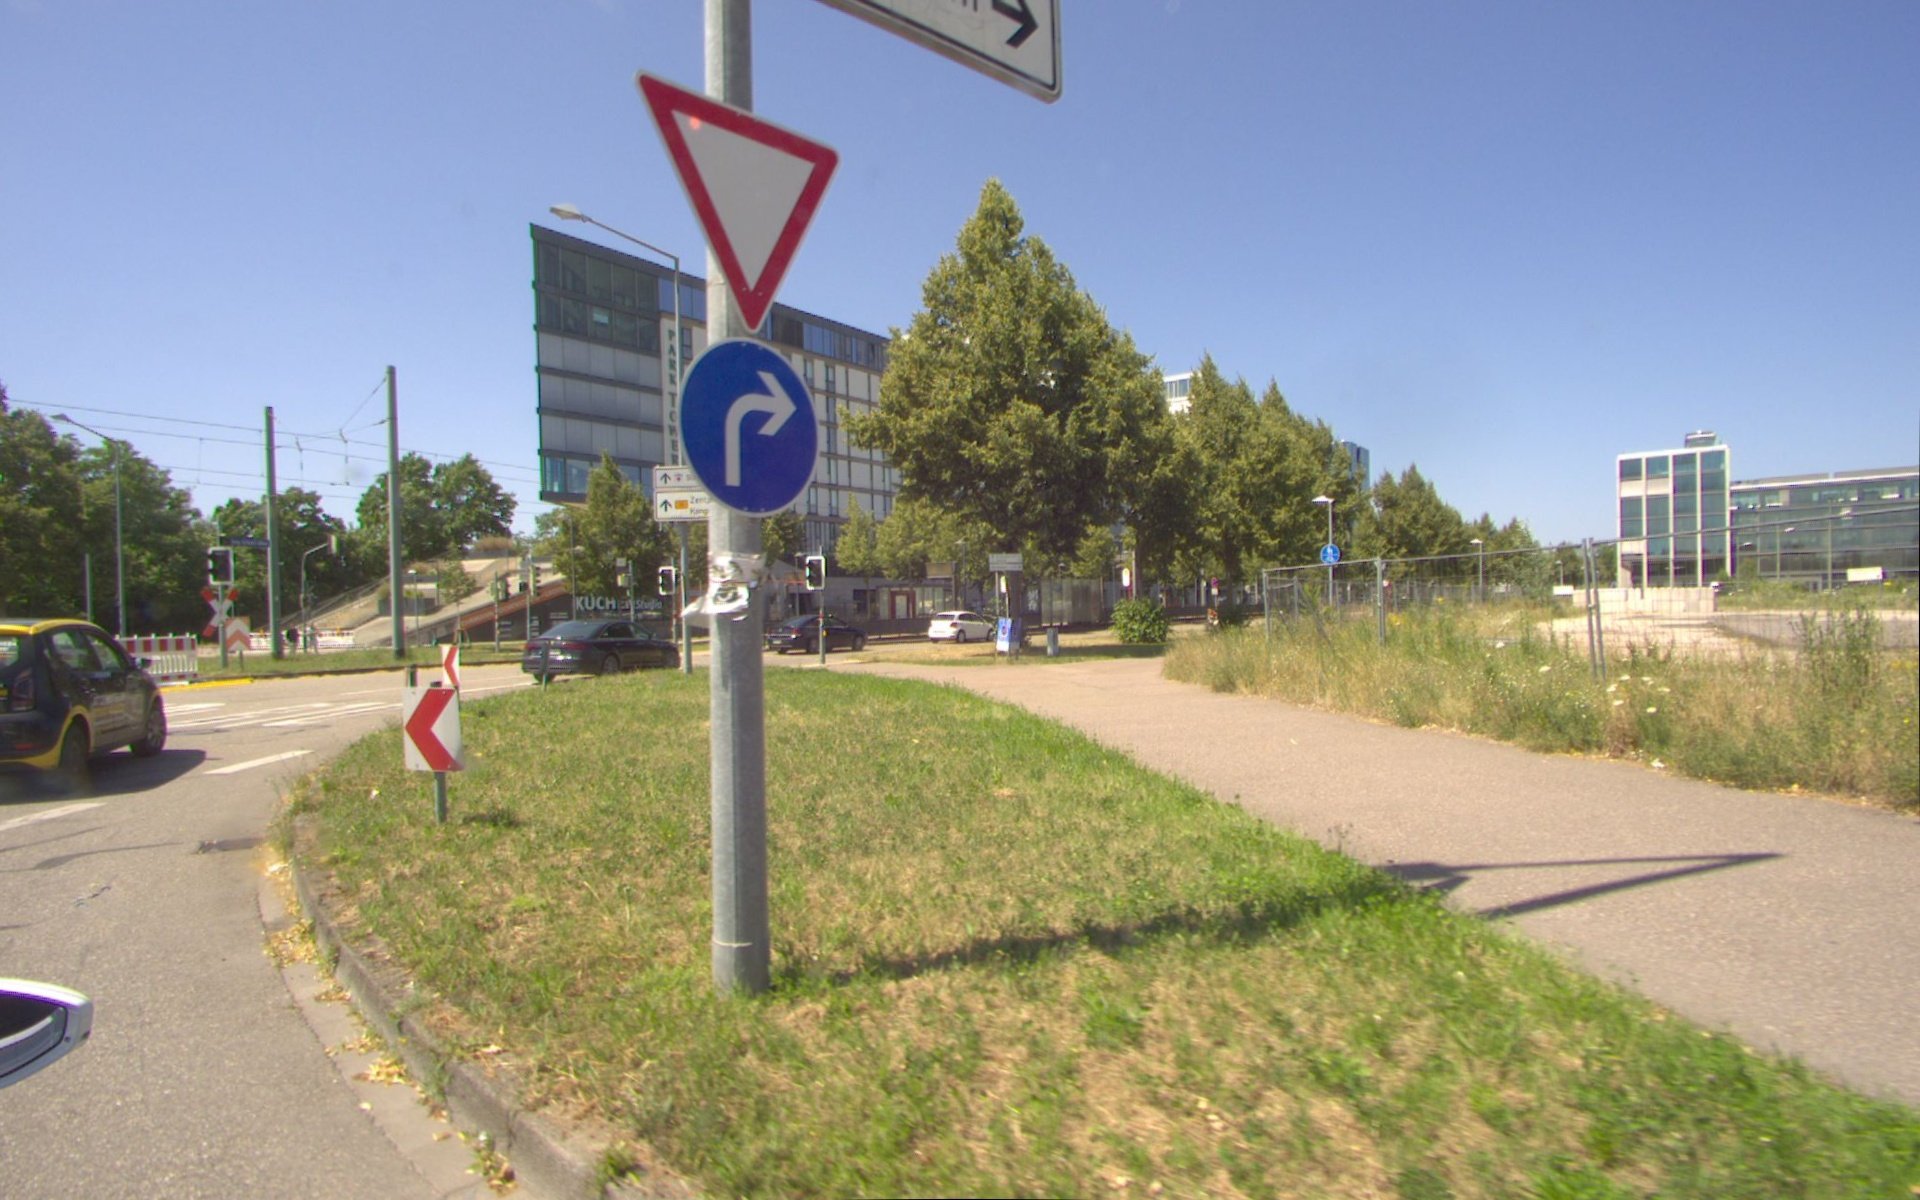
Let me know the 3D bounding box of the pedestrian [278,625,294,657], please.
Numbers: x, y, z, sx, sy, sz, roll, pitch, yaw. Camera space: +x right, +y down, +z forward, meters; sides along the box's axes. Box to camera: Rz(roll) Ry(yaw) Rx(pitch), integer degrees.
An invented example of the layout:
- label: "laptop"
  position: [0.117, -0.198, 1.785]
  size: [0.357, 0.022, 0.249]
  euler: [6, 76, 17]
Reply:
- label: "pedestrian"
  position: [-31.308, 1.902, 46.510]
  size: [0.347, 1.448, 0.519]
  euler: [-1, 0, 32]

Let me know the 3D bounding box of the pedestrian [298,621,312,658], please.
- label: "pedestrian"
  position: [-31.298, 1.865, 47.859]
  size: [0.287, 1.762, 0.446]
  euler: [-1, 0, 35]

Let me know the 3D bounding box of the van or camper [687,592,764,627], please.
- label: "van or camper"
  position: [-20.231, 0.822, 86.776]
  size: [2.350, 2.859, 6.749]
  euler: [-1, -1, 33]

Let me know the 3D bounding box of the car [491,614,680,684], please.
- label: "car"
  position: [-8.665, 1.089, 23.672]
  size: [1.963, 1.467, 4.647]
  euler: [-1, -1, 13]

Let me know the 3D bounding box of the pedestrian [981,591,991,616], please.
- label: "pedestrian"
  position: [1.885, 0.238, 72.577]
  size: [0.405, 1.775, 0.583]
  euler: [-1, 0, 33]

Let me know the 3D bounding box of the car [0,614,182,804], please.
- label: "car"
  position: [-8.736, 0.897, 9.290]
  size: [1.599, 1.470, 3.971]
  euler: [0, -2, -26]

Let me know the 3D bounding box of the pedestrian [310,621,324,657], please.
- label: "pedestrian"
  position: [-31.032, 1.876, 48.317]
  size: [0.314, 1.762, 0.446]
  euler: [-1, 0, 35]

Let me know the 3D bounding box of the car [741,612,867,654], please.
- label: "car"
  position: [-5.799, 1.231, 37.697]
  size: [1.974, 1.467, 4.730]
  euler: [-1, -2, 35]

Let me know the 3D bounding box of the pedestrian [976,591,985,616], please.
- label: "pedestrian"
  position: [1.453, 0.236, 72.026]
  size: [0.405, 1.775, 0.583]
  euler: [-1, 0, 33]

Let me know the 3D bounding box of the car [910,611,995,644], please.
- label: "car"
  position: [-0.302, 1.289, 46.559]
  size: [1.831, 1.467, 4.327]
  euler: [-1, -2, 34]
